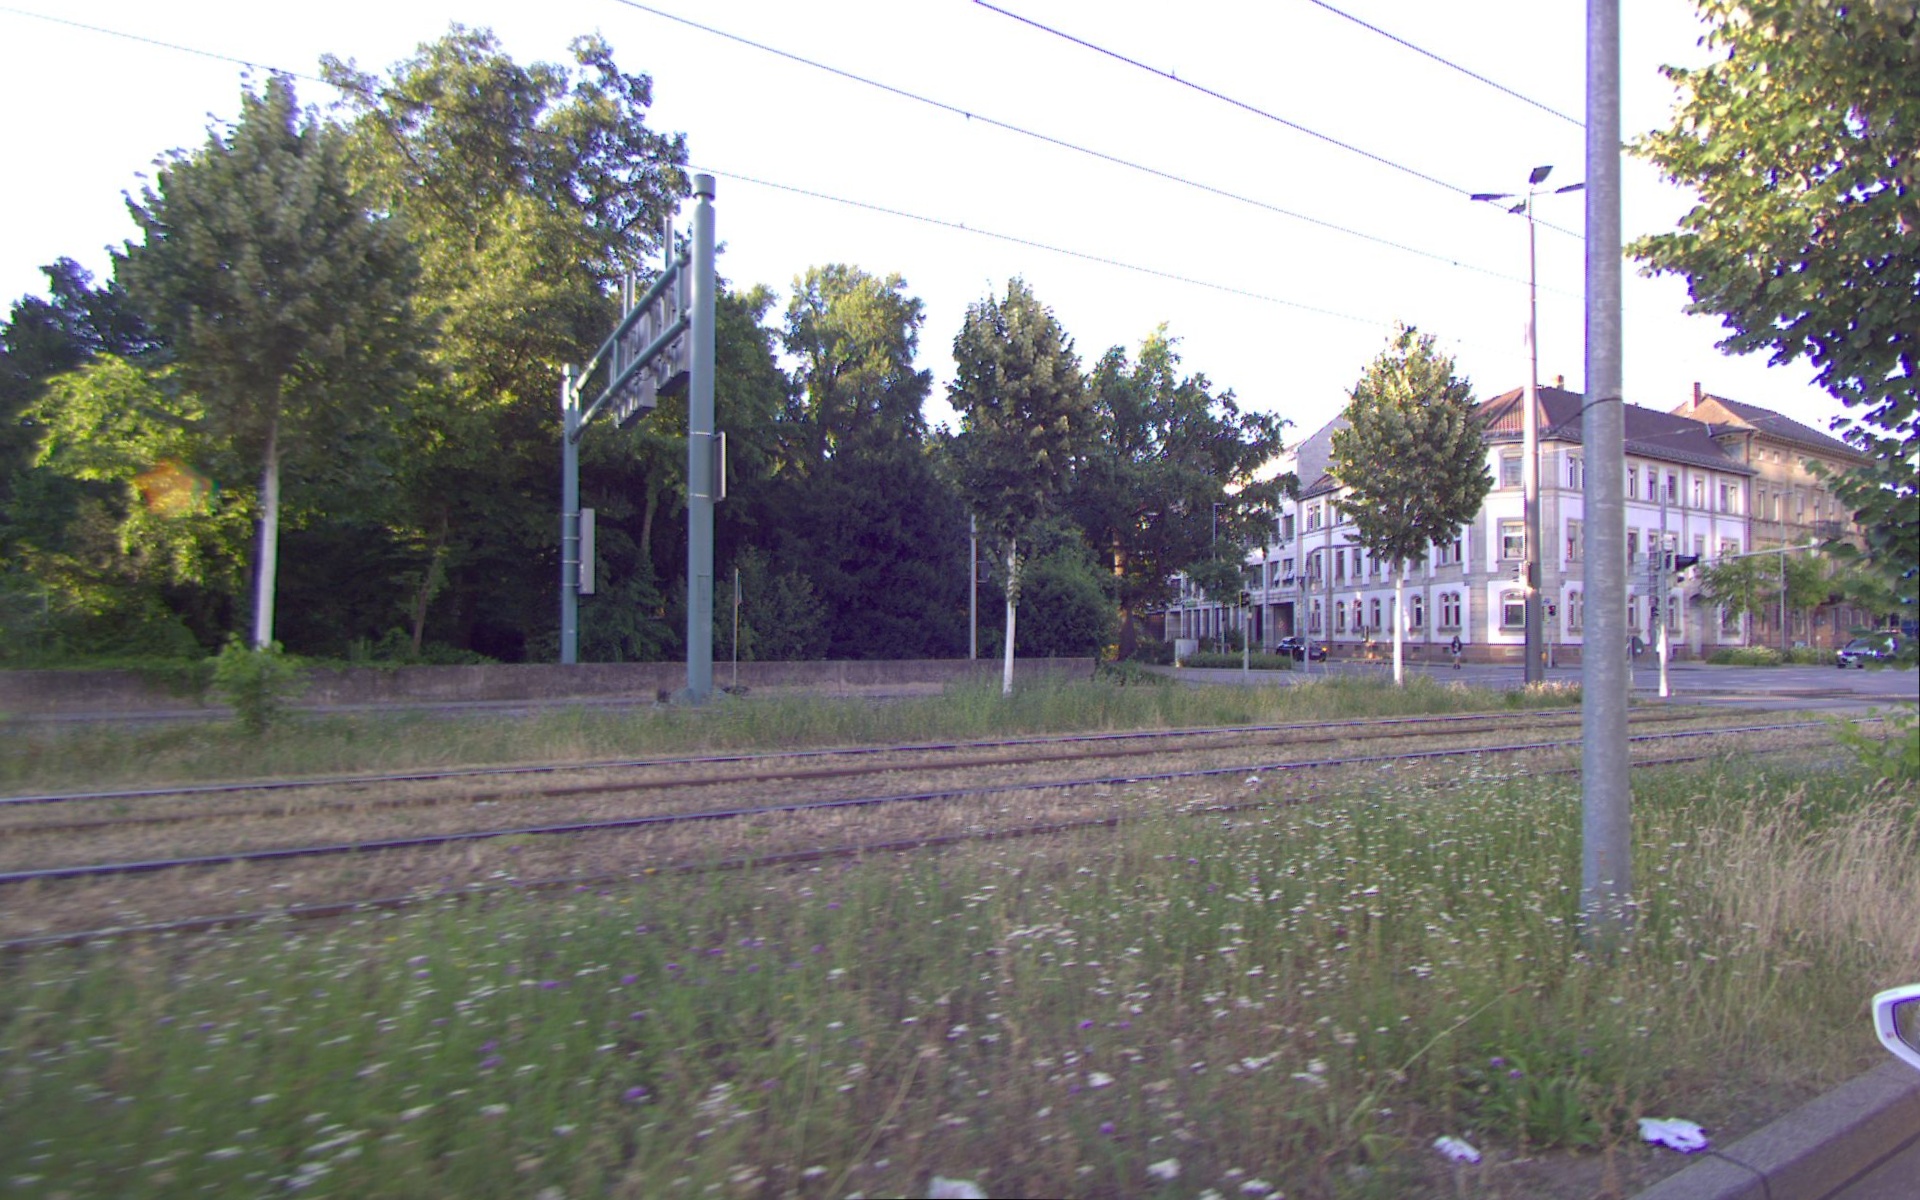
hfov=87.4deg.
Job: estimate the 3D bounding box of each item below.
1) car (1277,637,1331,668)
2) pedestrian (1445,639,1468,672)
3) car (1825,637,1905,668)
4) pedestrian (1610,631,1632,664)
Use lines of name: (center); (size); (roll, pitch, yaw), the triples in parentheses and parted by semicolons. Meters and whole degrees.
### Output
car: (20.160, 3.084, 59.069); (1.755, 1.576, 4.000); (1, 0, 0)
pedestrian: (23.058, 2.549, 46.608); (0.928, 1.478, 0.598); (1, 0, -38)
car: (48.165, 2.778, 53.442); (4.075, 1.601, 1.985); (1, -3, -30)
pedestrian: (35.621, 2.533, 54.101); (0.804, 1.738, 0.698); (1, 0, -33)
